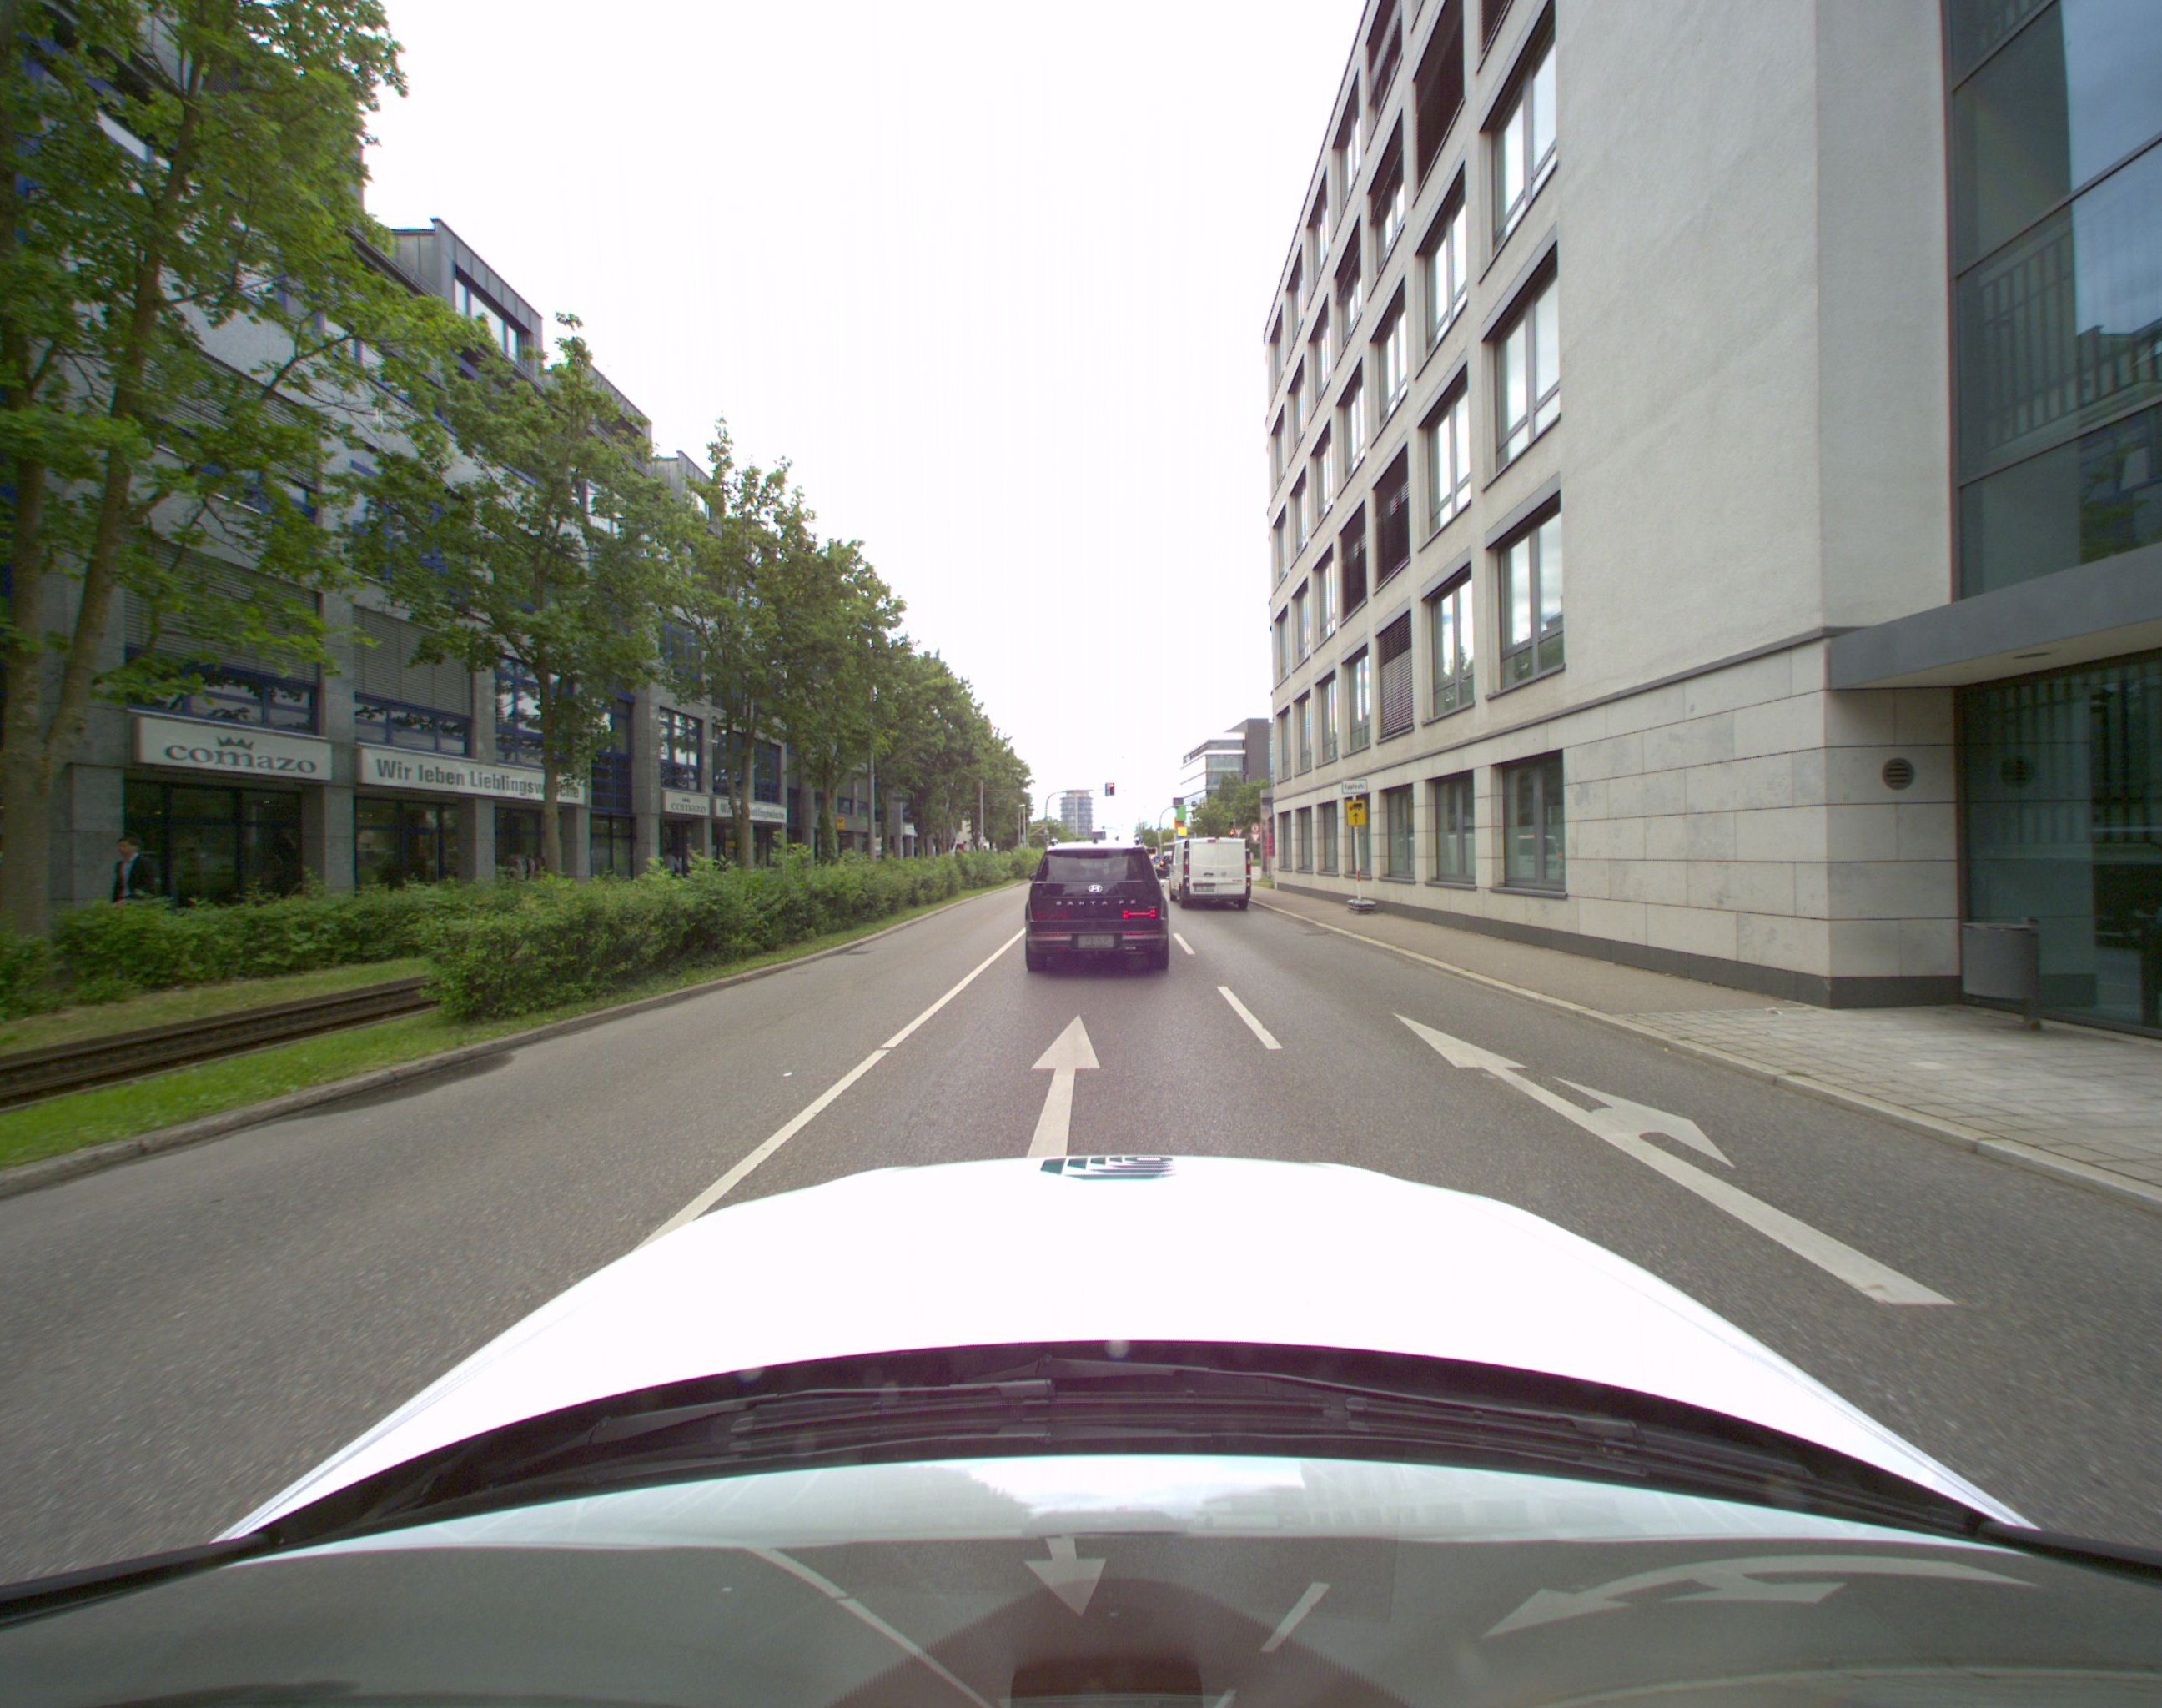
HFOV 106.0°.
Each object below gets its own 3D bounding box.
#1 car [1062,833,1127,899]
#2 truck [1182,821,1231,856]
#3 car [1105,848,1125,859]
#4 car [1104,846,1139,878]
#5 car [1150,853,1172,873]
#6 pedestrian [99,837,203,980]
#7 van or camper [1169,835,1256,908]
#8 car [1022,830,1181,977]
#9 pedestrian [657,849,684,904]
[{"bbox_3d":[0.352,0.373,27.206,1.927,1.994,4.531,-1,0,-2],"label":"car"},{"bbox_3d":[10.569,-1.230,69.284,2.330,2.748,6.468,-2,0,-8],"label":"truck"},{"bbox_3d":[4.877,-0.092,117.485,1.996,1.594,3.982,-1,0,-13],"label":"car"},{"bbox_3d":[2.340,0.448,47.836,1.986,1.790,4.002,-1,0,2],"label":"car"},{"bbox_3d":[6.794,0.724,69.496,1.751,1.609,4.193,-1,0,5],"label":"car"},{"bbox_3d":[-12.940,0.736,11.345,0.672,1.908,0.622,-2,-1,2],"label":"pedestrian"},{"bbox_3d":[3.710,0.453,23.693,1.986,1.915,4.333,0,0,2],"label":"van or camper"},{"bbox_3d":[0.202,0.605,12.035,1.903,1.749,4.394,-1,0,-1],"label":"car"},{"bbox_3d":[-15.414,0.842,30.568,0.678,2.013,0.571,-2,0,1],"label":"pedestrian"}]
